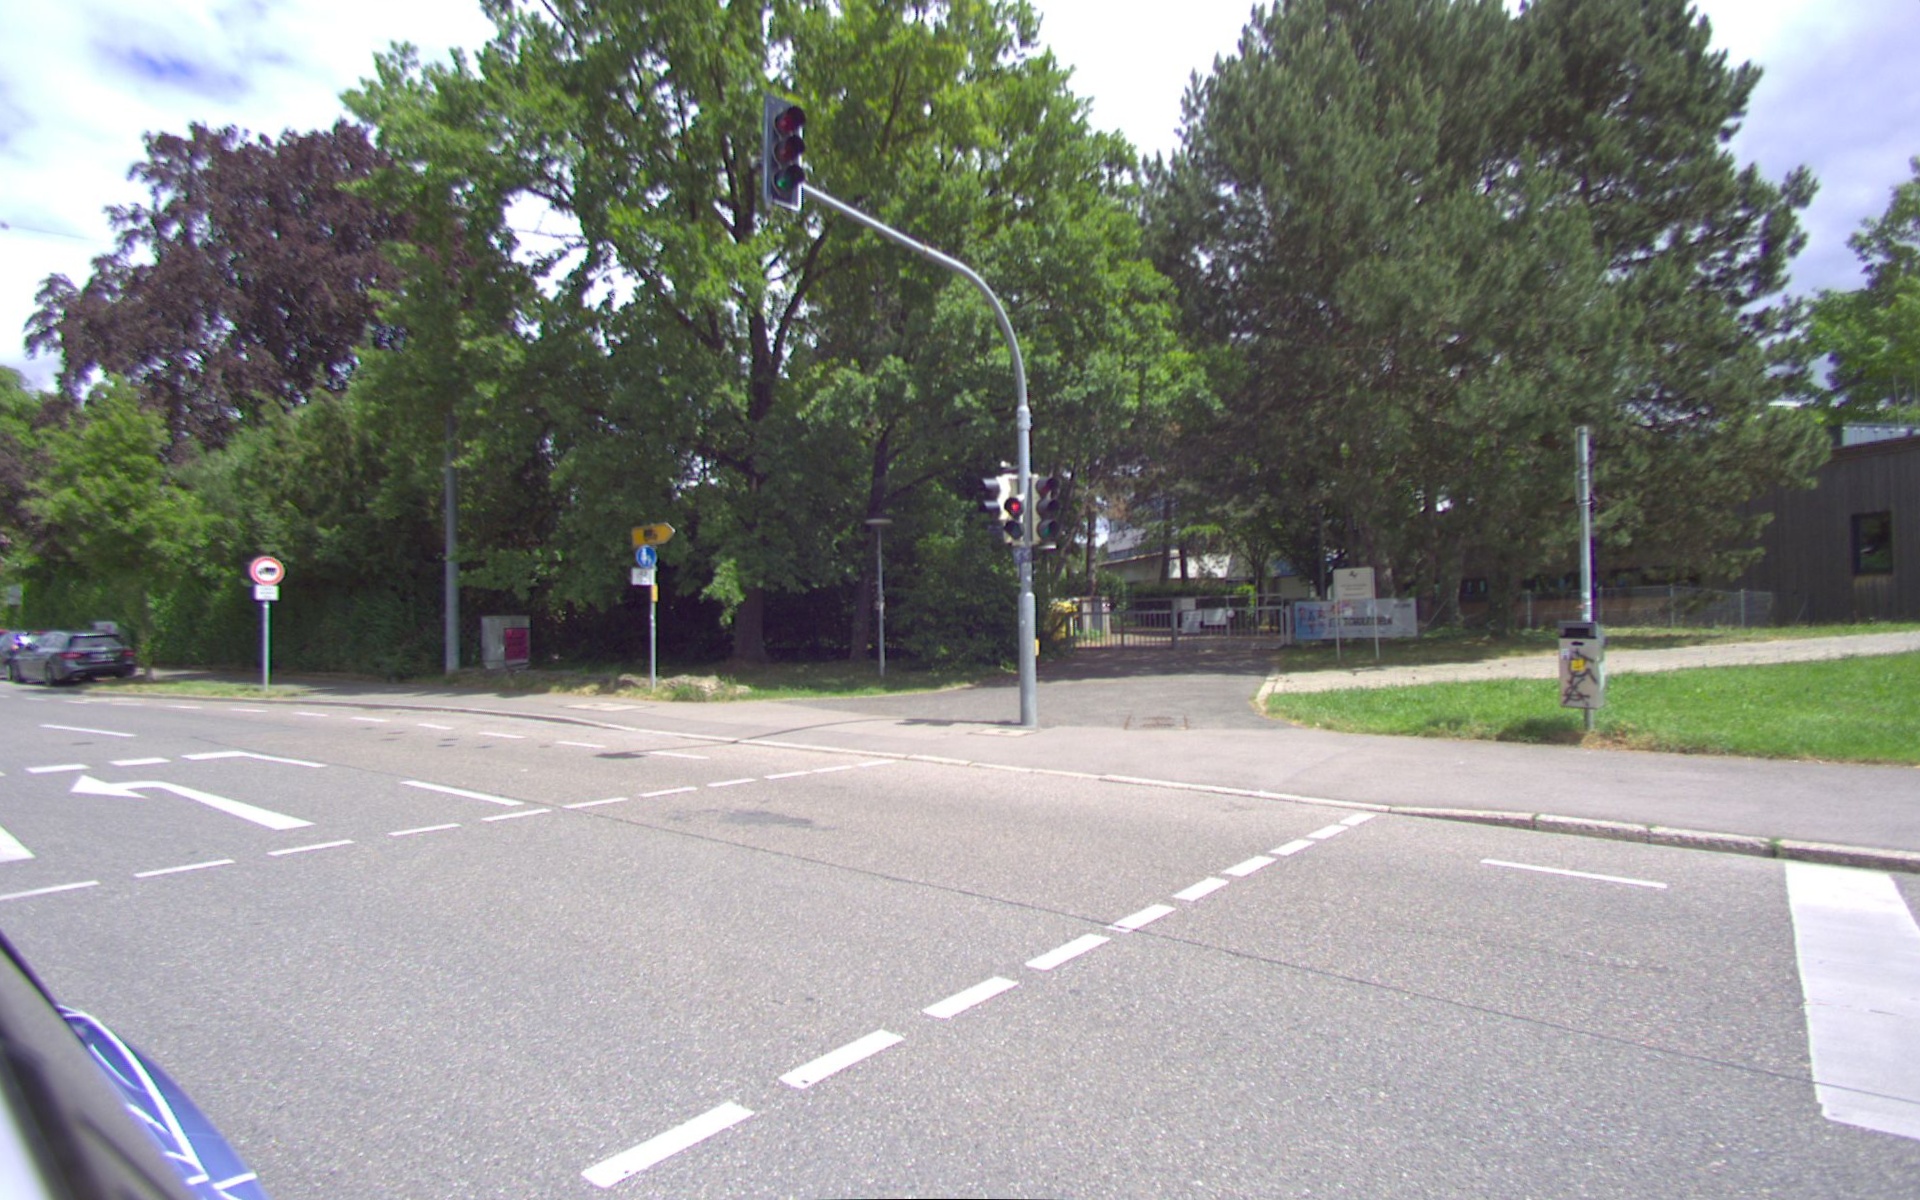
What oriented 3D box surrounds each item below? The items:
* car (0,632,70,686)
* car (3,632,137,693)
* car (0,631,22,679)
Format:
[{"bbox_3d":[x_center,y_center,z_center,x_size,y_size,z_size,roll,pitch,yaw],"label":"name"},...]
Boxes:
[{"bbox_3d":[-28.109,1.721,30.195,3.185,1.422,1.542,-1,0,34],"label":"car"},{"bbox_3d":[-24.146,1.640,27.417,4.390,1.426,1.669,0,1,34],"label":"car"},{"bbox_3d":[-31.768,1.781,32.500,3.312,1.489,1.508,-1,0,30],"label":"car"}]
